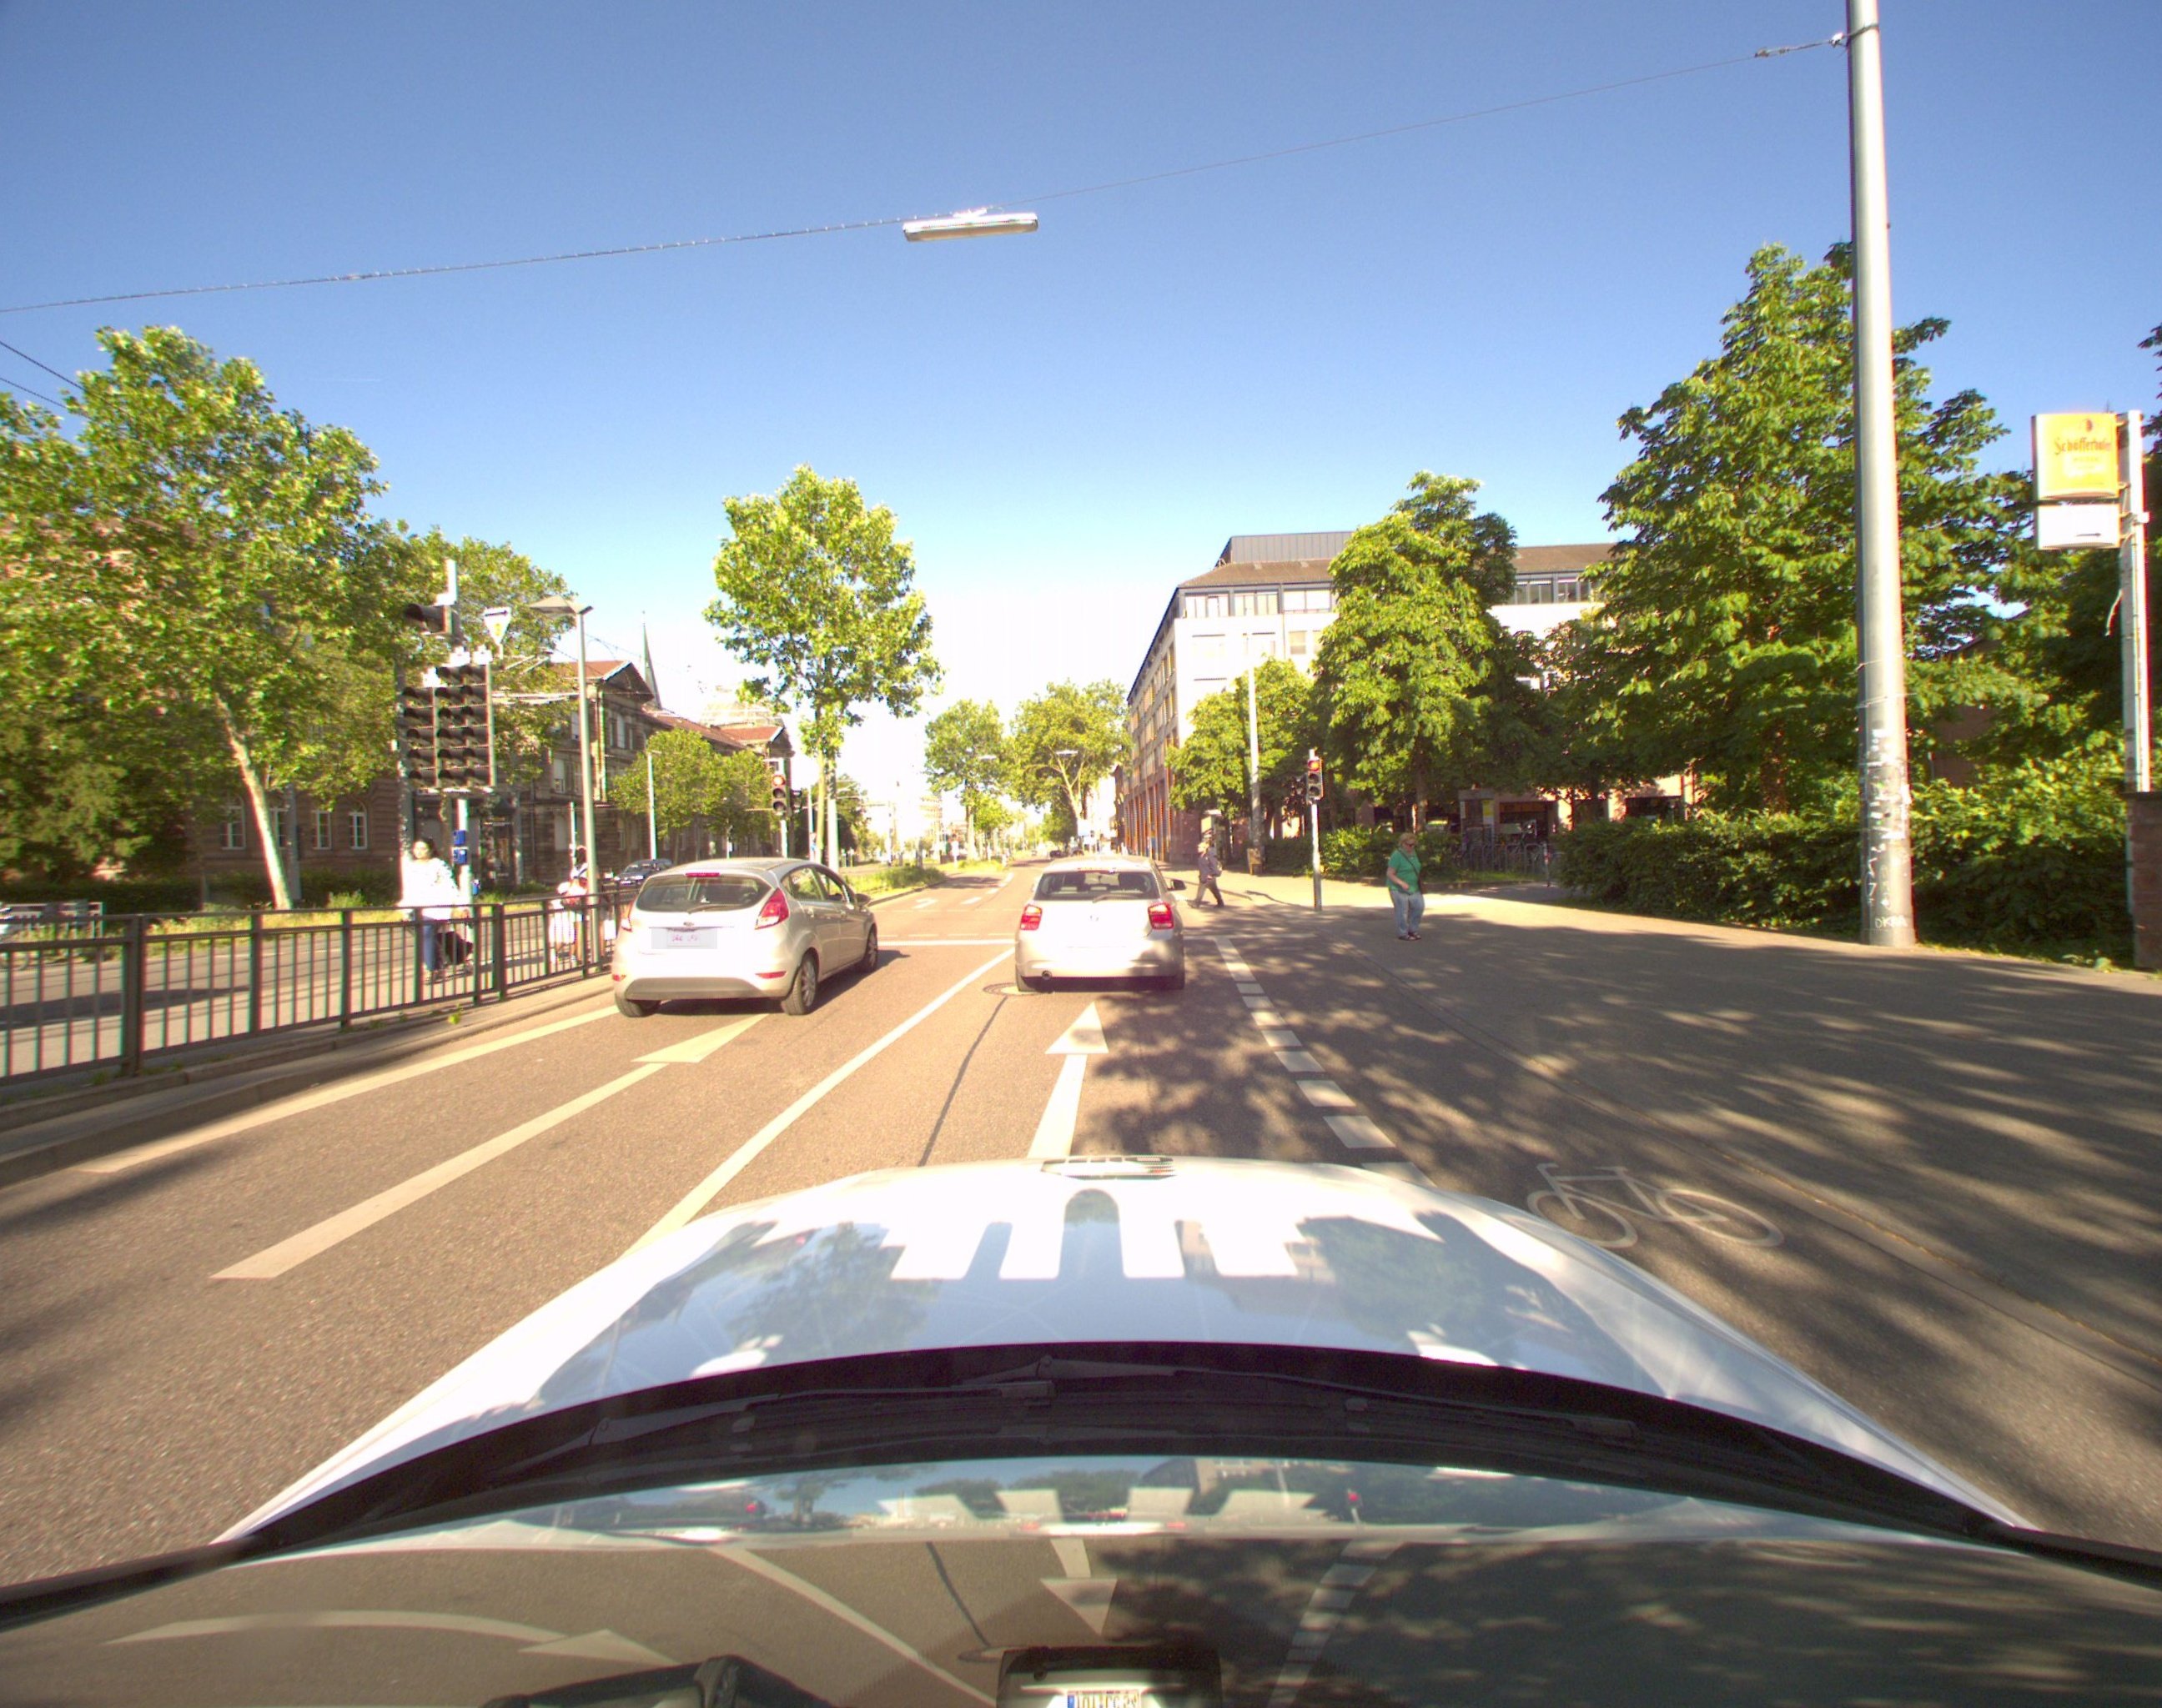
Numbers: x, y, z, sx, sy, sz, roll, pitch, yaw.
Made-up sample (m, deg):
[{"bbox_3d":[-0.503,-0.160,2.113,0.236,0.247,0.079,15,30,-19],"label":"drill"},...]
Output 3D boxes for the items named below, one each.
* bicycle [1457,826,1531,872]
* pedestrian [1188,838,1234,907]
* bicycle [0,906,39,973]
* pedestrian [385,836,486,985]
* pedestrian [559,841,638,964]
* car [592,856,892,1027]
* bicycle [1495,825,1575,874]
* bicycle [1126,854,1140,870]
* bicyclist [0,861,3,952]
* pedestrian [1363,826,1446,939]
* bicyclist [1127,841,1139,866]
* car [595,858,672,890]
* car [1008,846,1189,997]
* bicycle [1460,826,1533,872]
[{"bbox_3d":[12.950,-0.165,25.563,1.989,1.314,0.574,-4,0,1],"label":"bicycle"},{"bbox_3d":[3.159,0.432,19.839,0.941,1.629,0.626,-1,0,-11],"label":"pedestrian"},{"bbox_3d":[-16.734,1.283,12.118,1.558,0.963,0.650,0,-1,-2],"label":"bicycle"},{"bbox_3d":[-7.379,0.634,9.328,0.639,1.619,0.640,-2,-2,-5],"label":"pedestrian"},{"bbox_3d":[-6.376,0.624,10.789,0.630,1.557,0.645,-2,0,-6],"label":"pedestrian"},{"bbox_3d":[-3.288,0.743,8.696,1.655,1.409,3.631,-1,0,0],"label":"car"},{"bbox_3d":[13.409,-0.138,24.072,1.989,1.314,0.574,-4,0,1],"label":"bicycle"},{"bbox_3d":[3.566,0.552,55.600,0.827,1.041,1.878,-3,0,7],"label":"bicycle"},{"bbox_3d":[-16.785,0.803,12.122,0.563,1.385,0.649,0,-1,-2],"label":"bicyclist"},{"bbox_3d":[4.748,0.408,11.961,0.743,1.575,0.822,-3,0,-44],"label":"pedestrian"},{"bbox_3d":[3.555,-0.063,55.620,0.655,1.657,0.766,-3,0,7],"label":"bicyclist"},{"bbox_3d":[-24.980,1.072,45.626,1.986,1.625,4.002,-2,0,2],"label":"car"},{"bbox_3d":[0.347,0.636,9.749,1.721,1.390,3.846,-1,1,5],"label":"car"},{"bbox_3d":[13.346,-0.159,26.175,1.989,1.314,0.574,-4,0,1],"label":"bicycle"}]
